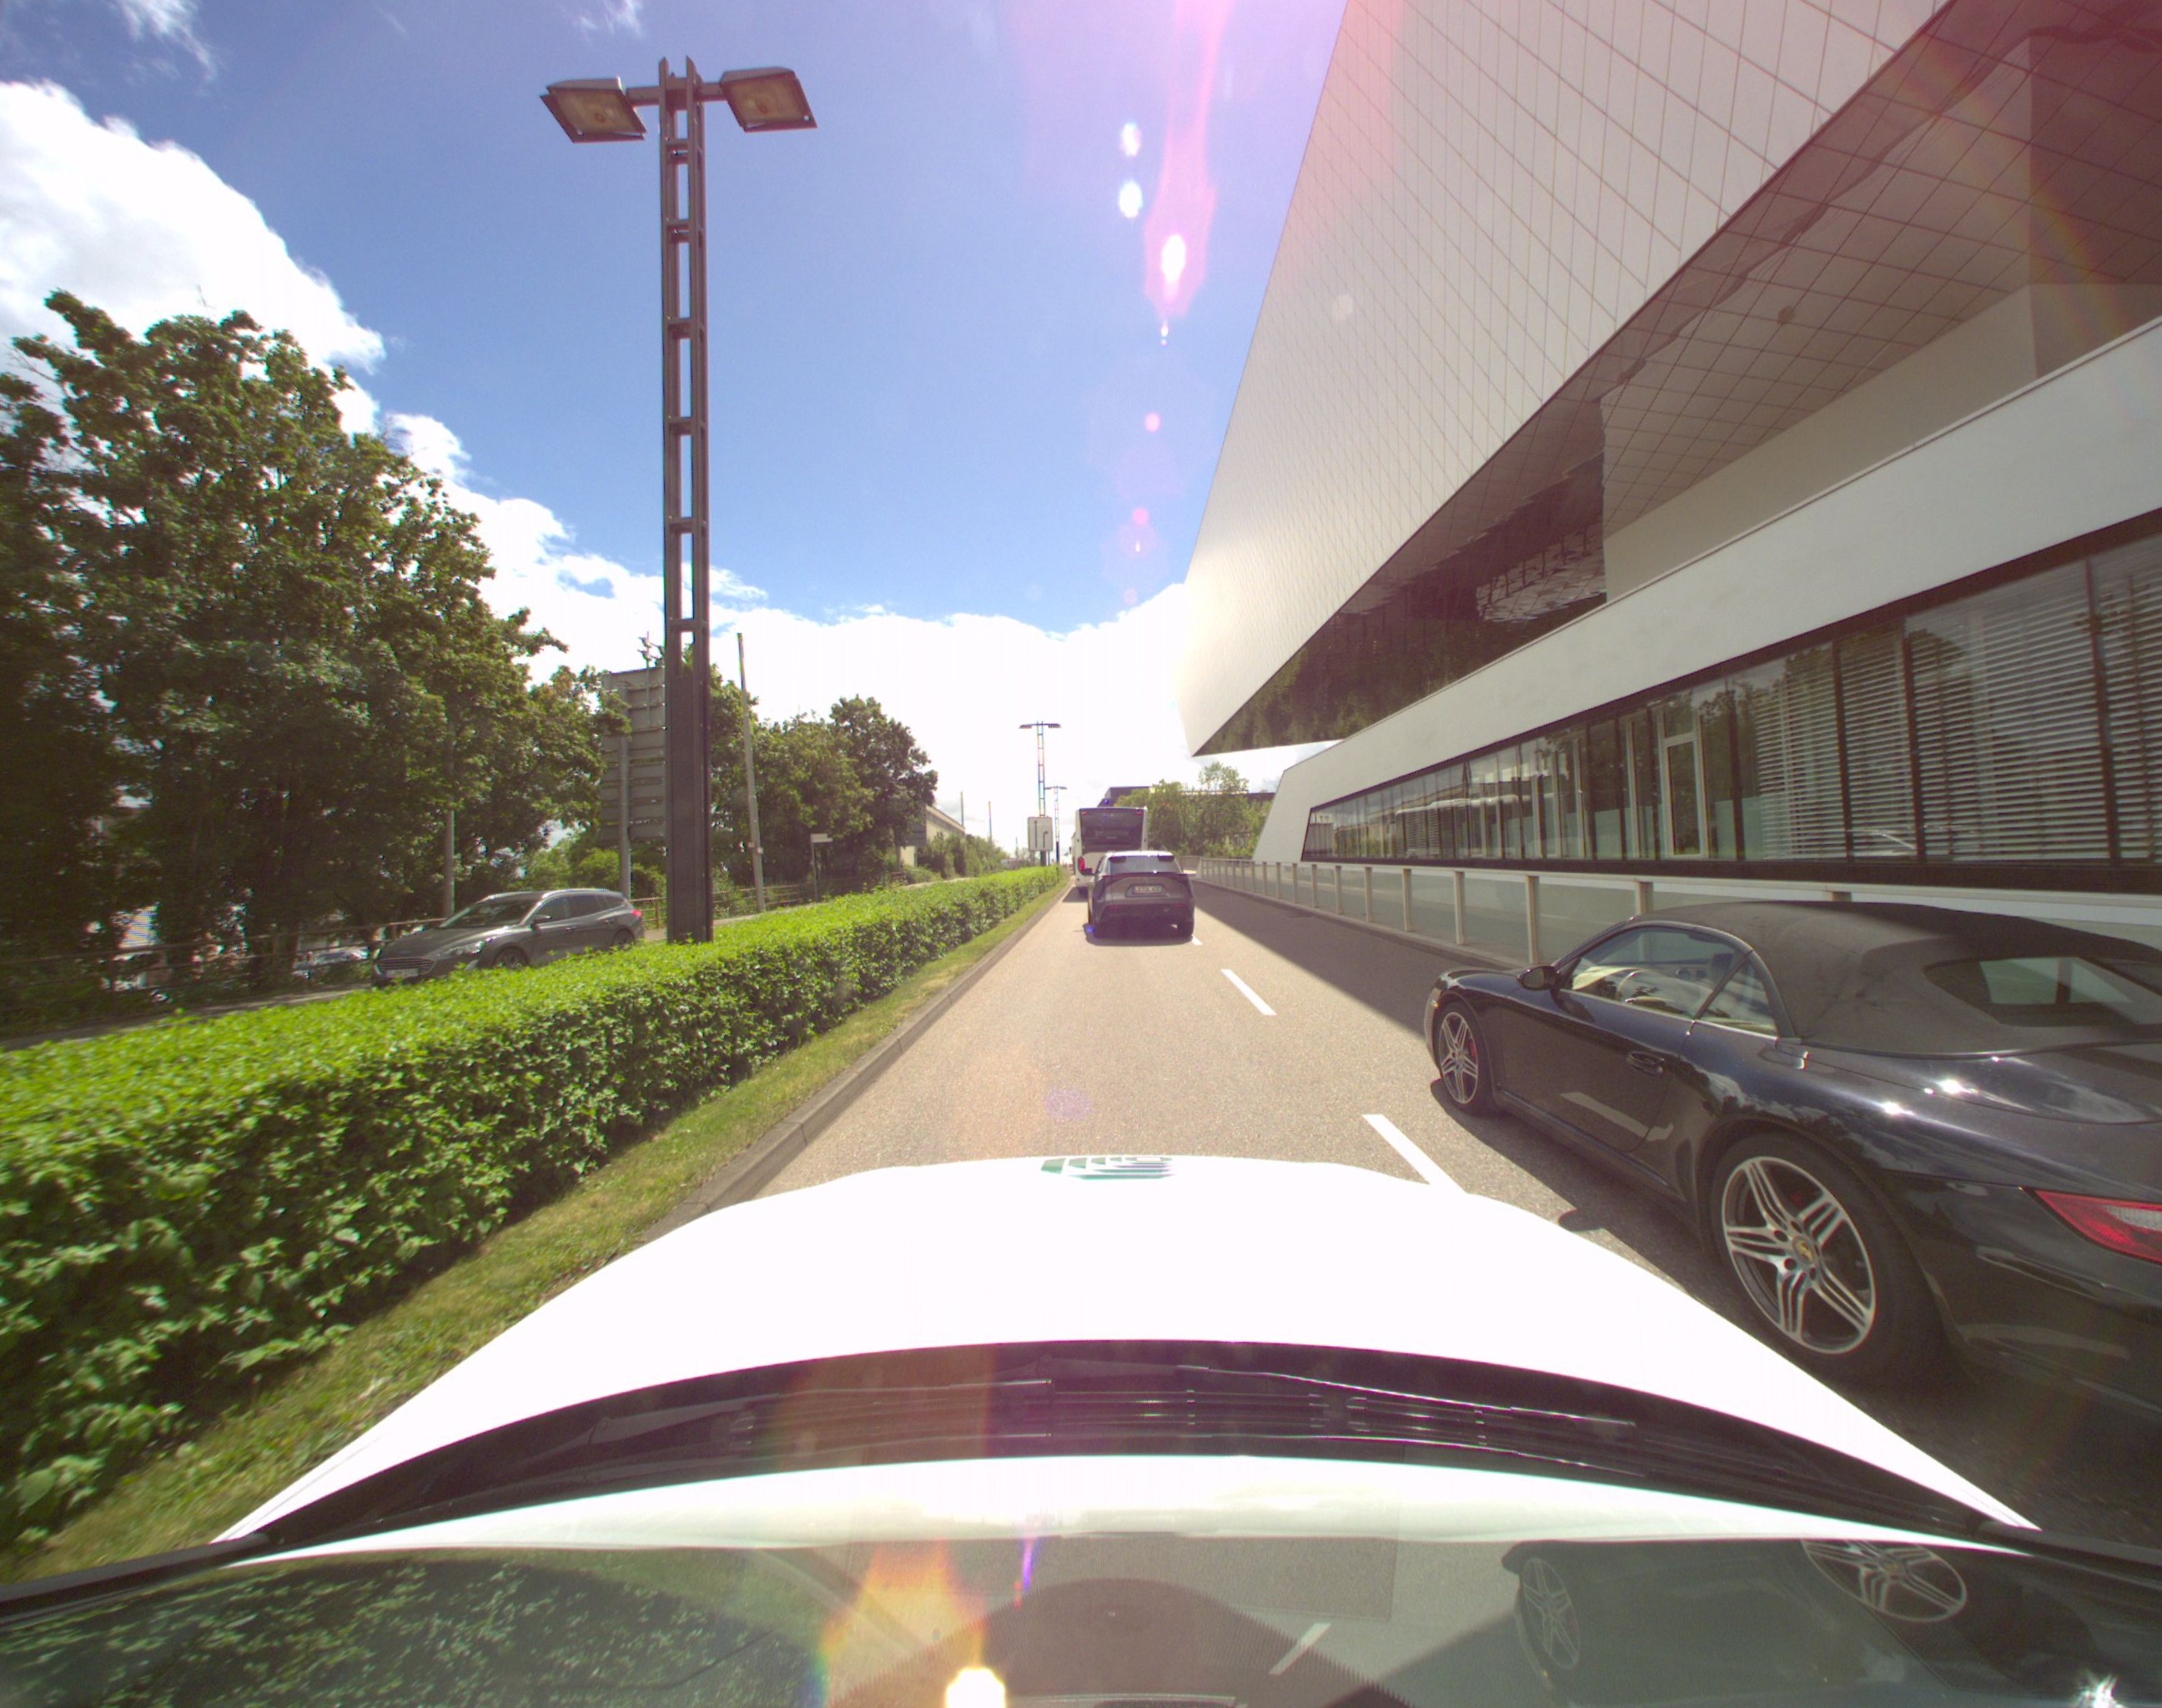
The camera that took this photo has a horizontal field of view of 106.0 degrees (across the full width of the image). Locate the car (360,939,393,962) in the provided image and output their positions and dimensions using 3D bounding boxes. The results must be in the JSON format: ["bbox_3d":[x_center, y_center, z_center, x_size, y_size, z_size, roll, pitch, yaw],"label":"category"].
[{"bbox_3d":[-58.830,8.027,68.022,1.728,1.527,3.720,-3,0,-37],"label":"car"}]

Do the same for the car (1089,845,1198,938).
[{"bbox_3d":[1.117,0.666,16.247,1.873,1.594,4.229,-1,-1,1],"label":"car"}]

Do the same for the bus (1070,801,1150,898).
[{"bbox_3d":[1.201,-0.212,33.619,2.678,3.255,12.064,-1,1,2],"label":"bus"}]

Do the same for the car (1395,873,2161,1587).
[{"bbox_3d":[2.979,0.769,3.564,1.713,1.275,4.089,-1,0,1],"label":"car"}]

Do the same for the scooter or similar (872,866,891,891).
[{"bbox_3d":[-10.716,1.286,43.778,0.489,1.304,1.644,-1,0,3],"label":"scooter or similar"}]

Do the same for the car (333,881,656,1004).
[{"bbox_3d":[-9.506,1.338,13.806,1.831,1.507,4.568,-3,0,5],"label":"car"}]

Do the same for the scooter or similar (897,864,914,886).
[{"bbox_3d":[-10.612,1.258,49.244,0.489,1.216,1.644,-3,0,3],"label":"scooter or similar"}]

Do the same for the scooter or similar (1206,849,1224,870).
[{"bbox_3d":[8.132,0.343,49.387,0.651,1.214,1.856,-3,-1,-2],"label":"scooter or similar"}]
